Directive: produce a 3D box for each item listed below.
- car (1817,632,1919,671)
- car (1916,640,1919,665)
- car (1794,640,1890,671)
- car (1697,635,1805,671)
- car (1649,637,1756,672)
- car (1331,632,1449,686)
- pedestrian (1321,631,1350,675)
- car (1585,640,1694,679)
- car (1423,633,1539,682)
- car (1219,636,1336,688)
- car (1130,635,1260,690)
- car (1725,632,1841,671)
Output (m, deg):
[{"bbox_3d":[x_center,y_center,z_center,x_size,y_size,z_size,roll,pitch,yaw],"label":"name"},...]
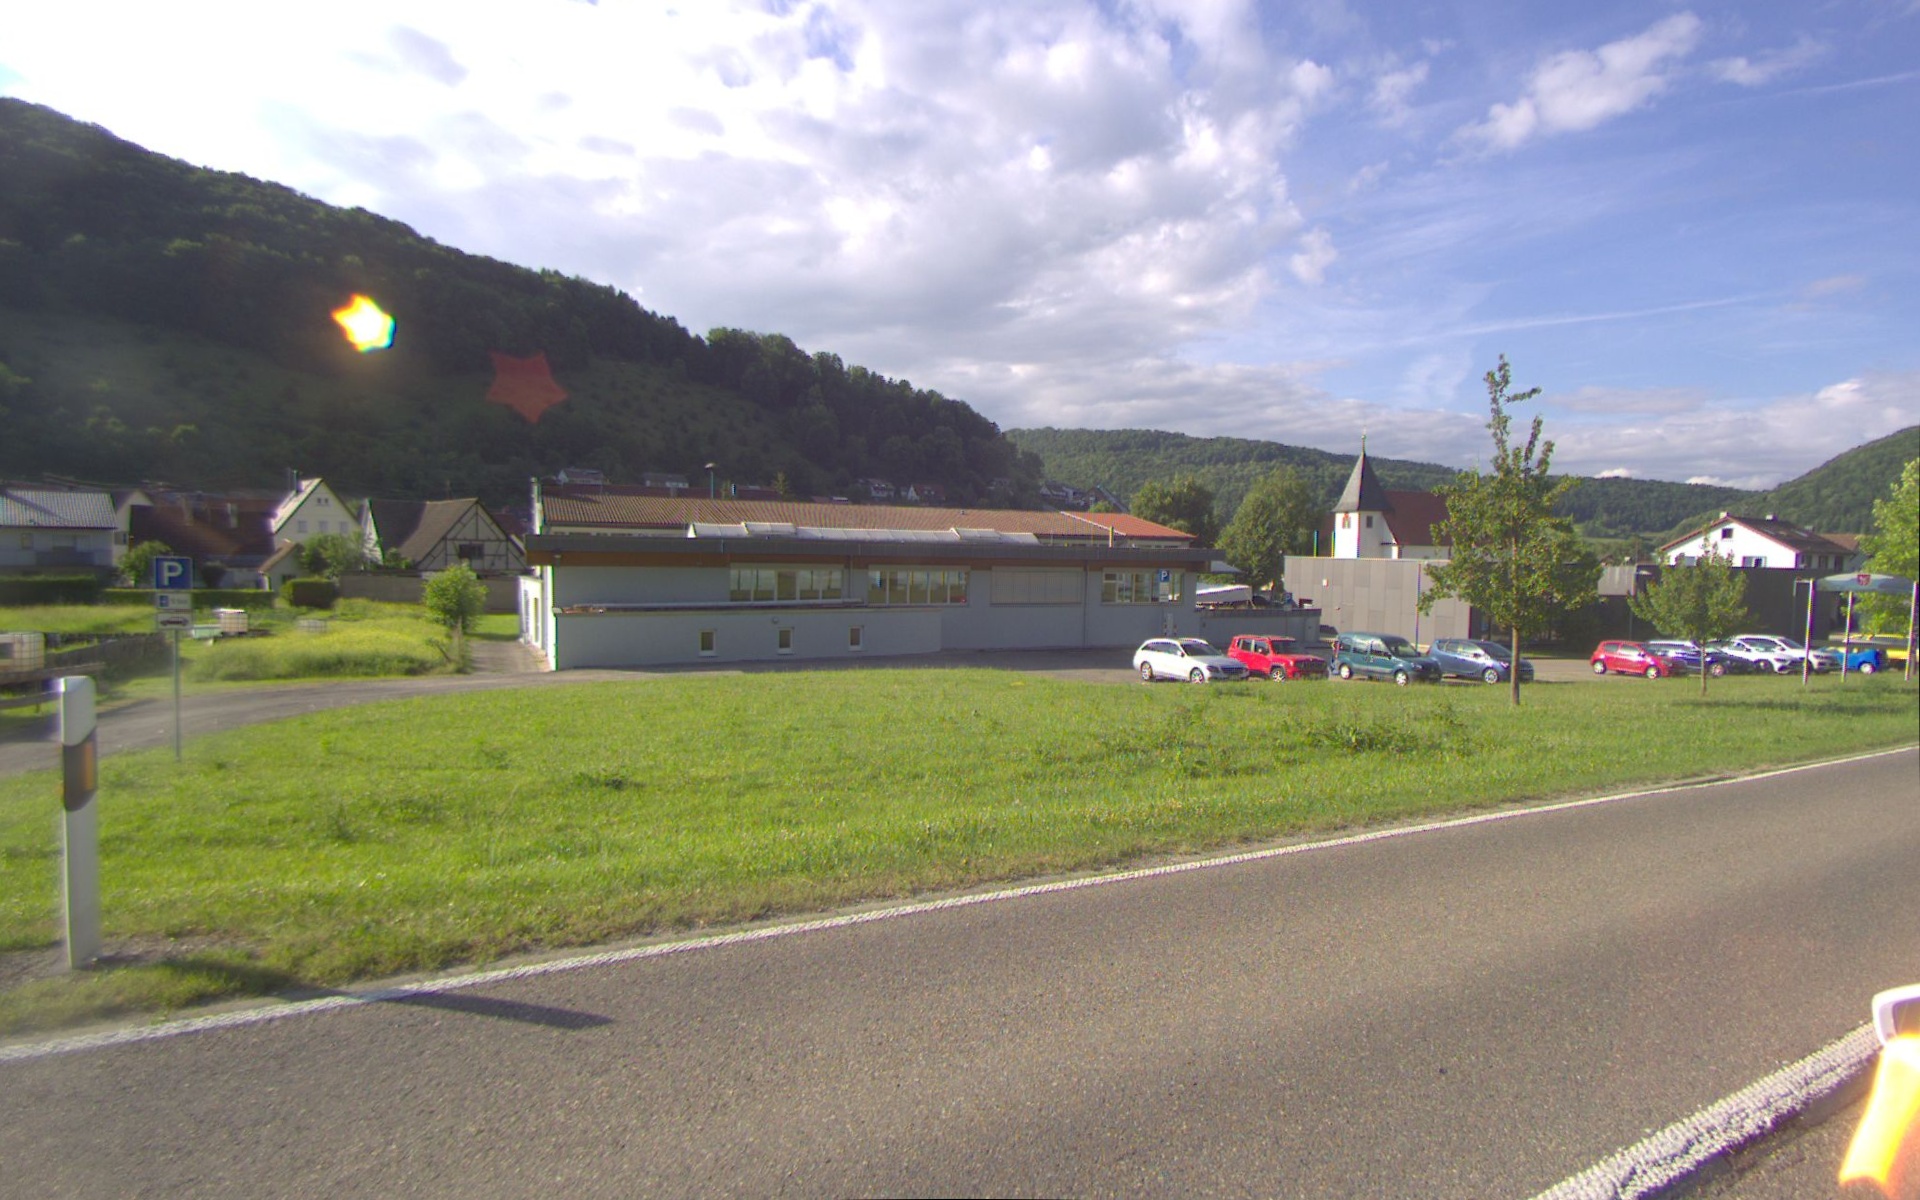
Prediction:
[{"bbox_3d":[47.358,2.604,51.740,1.815,1.839,4.543,1,-1,-23],"label":"car"},{"bbox_3d":[56.018,2.992,55.965,1.488,1.458,3.704,1,-1,-23],"label":"car"},{"bbox_3d":[44.786,2.788,51.058,1.641,1.392,3.353,1,-1,-30],"label":"car"},{"bbox_3d":[36.647,2.416,46.641,1.574,1.513,3.658,1,-1,-23],"label":"car"},{"bbox_3d":[33.626,2.429,45.602,1.574,1.424,3.617,1,-1,-23],"label":"car"},{"bbox_3d":[15.948,2.151,37.423,1.732,1.745,3.849,1,0,-26],"label":"car"},{"bbox_3d":[15.050,2.112,40.242,0.697,1.716,0.790,1,1,-31],"label":"pedestrian"},{"bbox_3d":[29.258,2.541,43.371,1.625,1.463,3.616,1,-1,-23],"label":"car"},{"bbox_3d":[20.206,2.196,39.091,1.708,1.744,3.808,1,-1,-24],"label":"car"},{"bbox_3d":[10.983,2.128,34.996,1.731,1.600,3.910,1,-1,-24],"label":"car"},{"bbox_3d":[7.965,2.089,34.523,1.972,1.610,4.629,1,-1,-24],"label":"car"},{"bbox_3d":[39.494,2.433,48.334,1.574,1.695,4.068,1,-1,-23],"label":"car"}]
